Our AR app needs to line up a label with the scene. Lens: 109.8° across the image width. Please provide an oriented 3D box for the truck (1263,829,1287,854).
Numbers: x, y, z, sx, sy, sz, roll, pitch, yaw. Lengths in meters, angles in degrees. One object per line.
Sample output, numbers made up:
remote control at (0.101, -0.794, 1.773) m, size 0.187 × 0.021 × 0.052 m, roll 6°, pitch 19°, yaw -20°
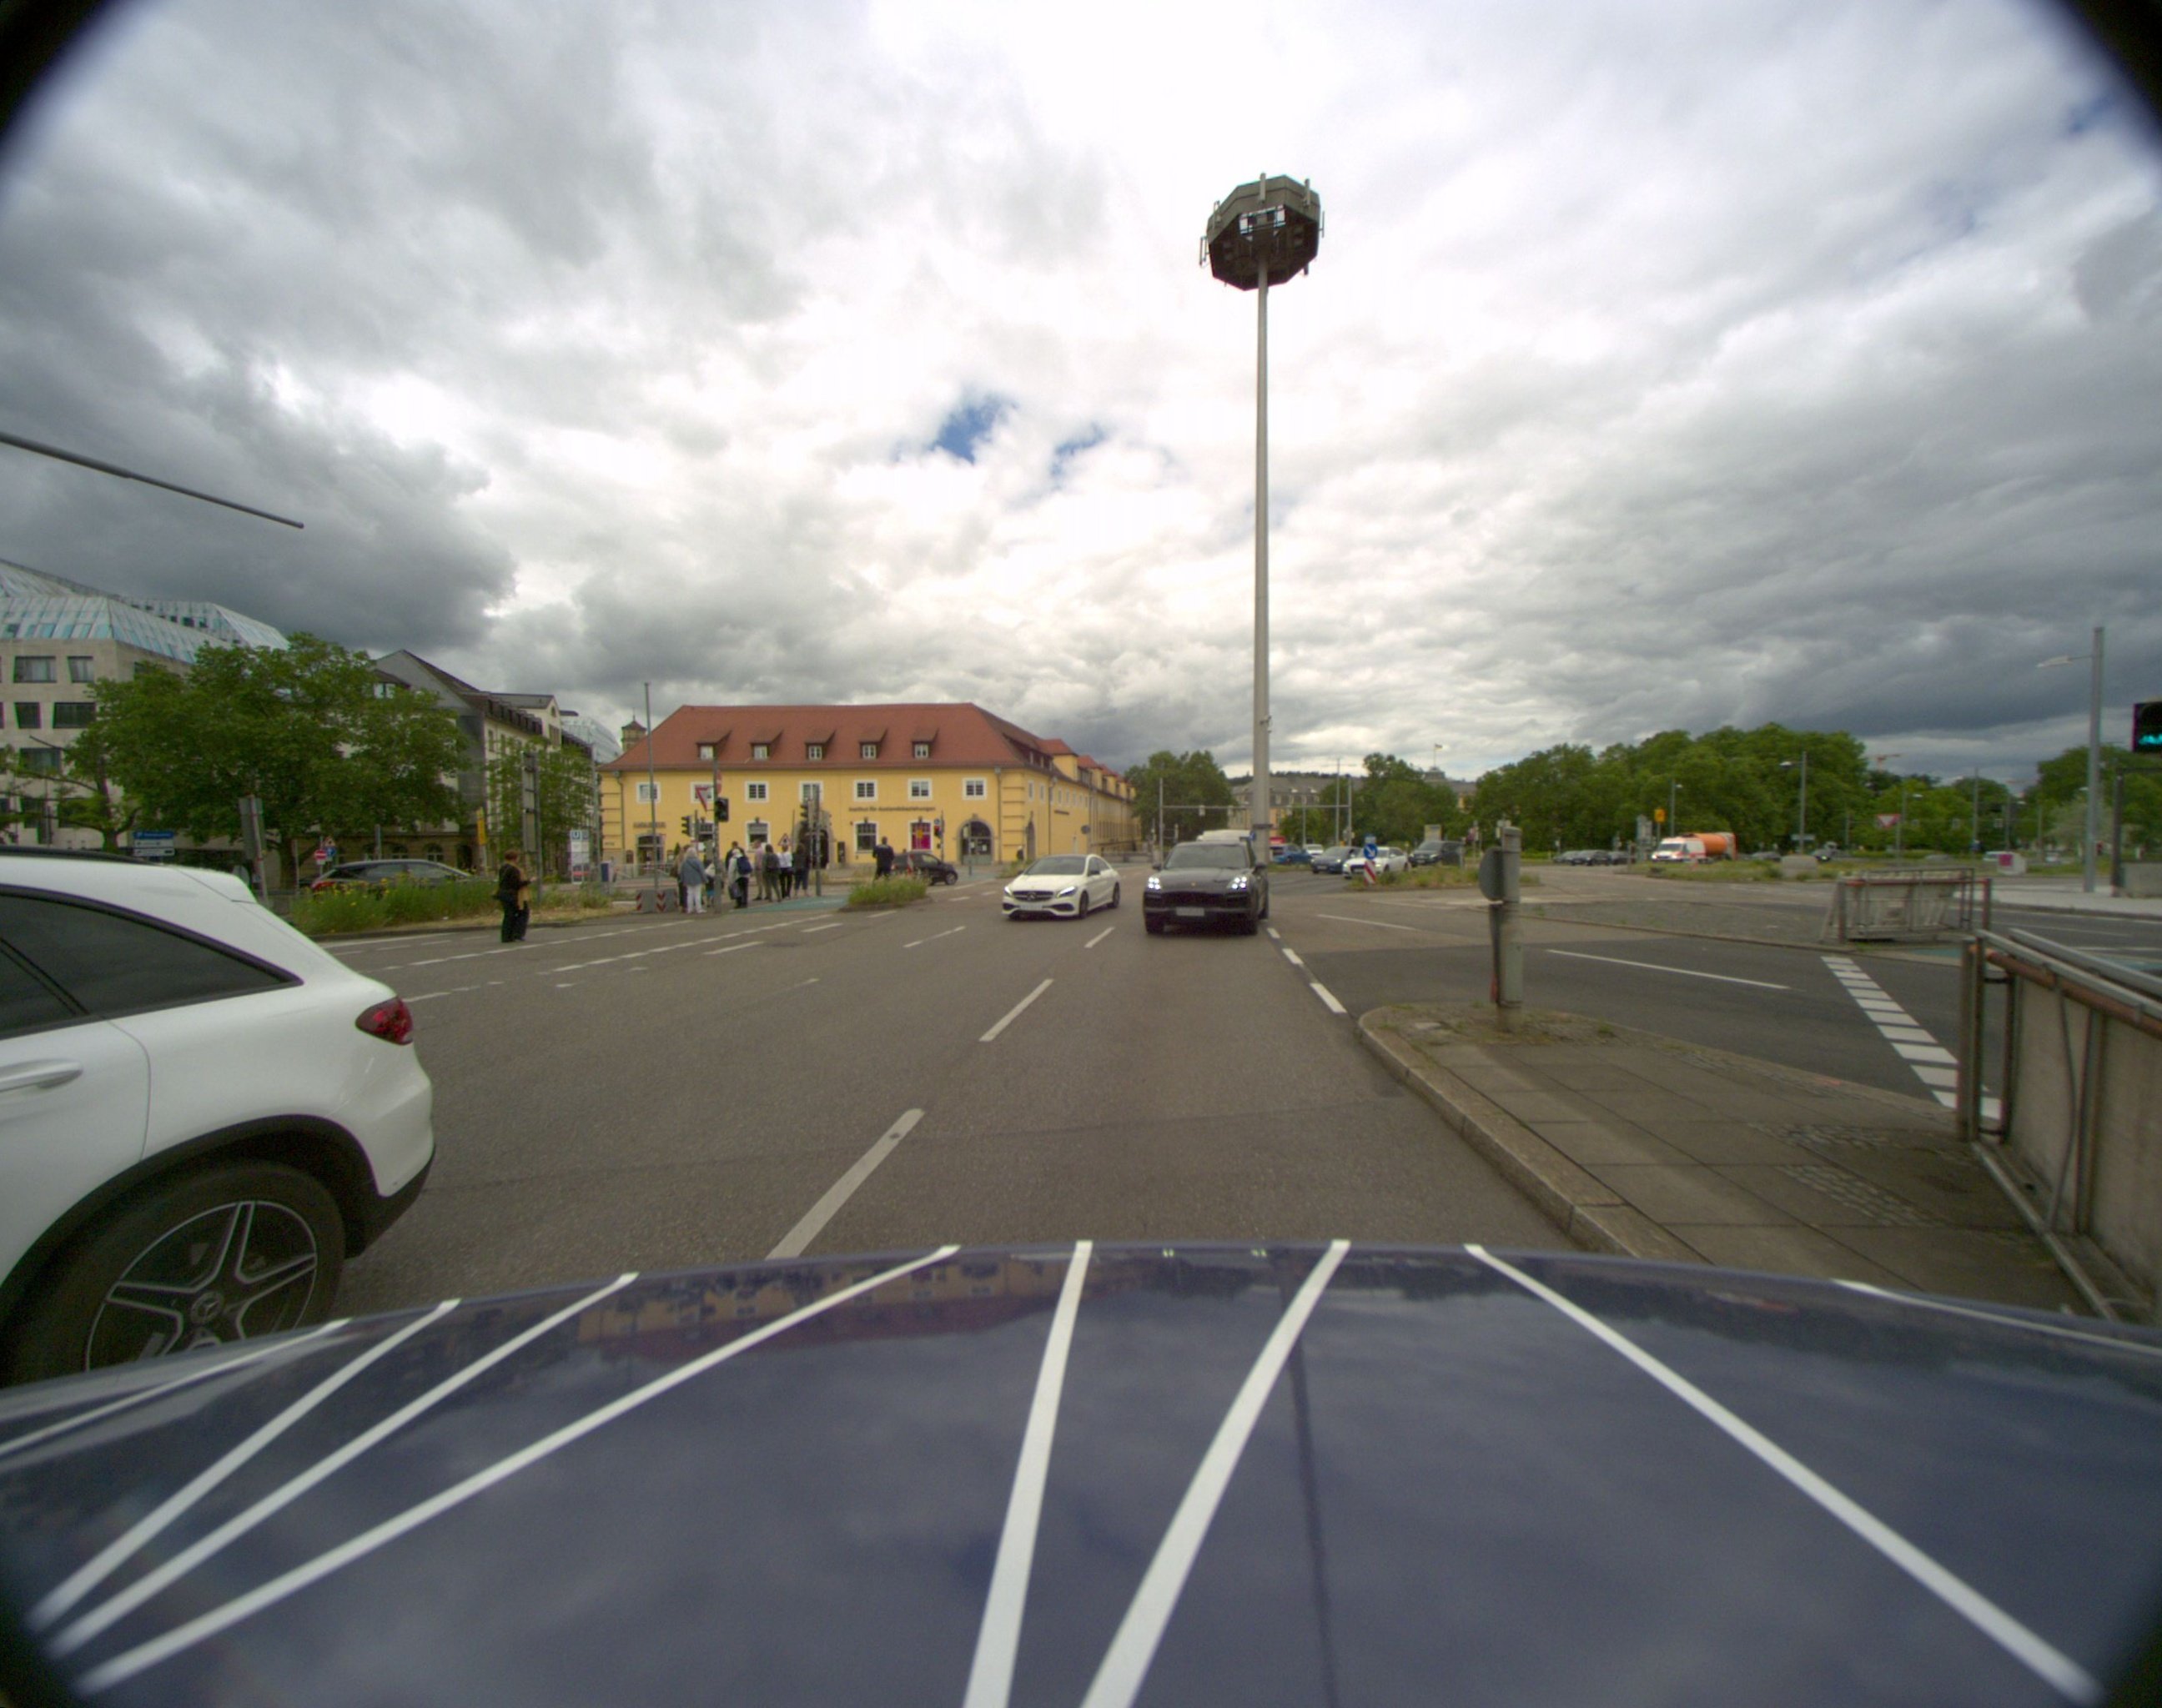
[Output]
truck at (28.101, -1.804, 110.458) m, size 2.787 × 3.469 × 8.356 m, roll 0°, pitch 1°, yaw 10°

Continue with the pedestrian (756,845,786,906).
pedestrian at (-8.815, 0.593, 21.594) m, size 0.612 × 1.686 × 0.641 m, roll -2°, pitch 1°, yaw -34°

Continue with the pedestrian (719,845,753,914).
pedestrian at (-9.065, 0.646, 19.971) m, size 0.670 × 1.751 × 0.762 m, roll -2°, pitch 1°, yaw -32°

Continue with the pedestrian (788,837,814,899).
pedestrian at (-8.863, 0.437, 24.045) m, size 0.612 × 1.944 × 0.641 m, roll -2°, pitch 1°, yaw -31°

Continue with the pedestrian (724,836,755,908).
pedestrian at (-9.413, 0.485, 20.927) m, size 0.612 × 1.954 × 0.641 m, roll -2°, pitch 1°, yaw -34°

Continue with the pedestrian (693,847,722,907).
pedestrian at (-10.688, 0.645, 21.758) m, size 0.612 × 1.686 × 0.641 m, roll -2°, pitch 1°, yaw -34°

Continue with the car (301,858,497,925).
car at (-18.516, 0.944, 20.788) m, size 3.818 × 1.567 × 1.994 m, roll -1°, pitch 1°, yaw -43°

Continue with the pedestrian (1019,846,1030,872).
pedestrian at (-4.051, 0.366, 54.370) m, size 0.639 × 1.884 × 0.557 m, roll -1°, pitch 1°, yaw -22°

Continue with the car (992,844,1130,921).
car at (-0.302, 0.560, 18.031) m, size 1.868 × 1.560 × 4.657 m, roll 0°, pitch 1°, yaw 17°

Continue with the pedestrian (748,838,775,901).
pedestrian at (-9.842, 0.456, 23.382) m, size 0.612 × 1.899 × 0.641 m, roll -2°, pitch 3°, yaw -34°

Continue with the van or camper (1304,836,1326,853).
van or camper at (27.213, -1.115, 88.445) m, size 1.863 × 1.905 × 4.717 m, roll 0°, pitch 1°, yaw 11°

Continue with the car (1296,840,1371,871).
car at (13.667, 0.047, 40.981) m, size 4.008 × 1.592 × 1.994 m, roll -1°, pitch 1°, yaw -39°

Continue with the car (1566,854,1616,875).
car at (44.589, 0.878, 66.438) m, size 3.745 × 1.729 × 1.857 m, roll 0°, pitch 1°, yaw -24°

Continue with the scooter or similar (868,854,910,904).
scooter or similar at (-5.719, 0.694, 22.515) m, size 0.778 × 1.398 × 1.884 m, roll -2°, pitch 1°, yaw -27°

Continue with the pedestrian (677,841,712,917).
pedestrian at (-9.669, 0.609, 19.017) m, size 0.670 × 1.852 × 0.701 m, roll -2°, pitch 1°, yaw -32°

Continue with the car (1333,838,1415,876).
car at (13.763, 0.142, 35.518) m, size 2.091 × 1.599 × 4.421 m, roll -3°, pitch -1°, yaw 42°

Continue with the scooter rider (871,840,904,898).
scooter rider at (-5.725, 0.428, 22.510) m, size 0.767 × 1.684 × 0.744 m, roll -2°, pitch 1°, yaw -27°

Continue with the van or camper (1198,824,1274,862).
van or camper at (10.701, -0.771, 52.011) m, size 2.141 × 2.463 × 6.174 m, roll -1°, pitch 0°, yaw 43°

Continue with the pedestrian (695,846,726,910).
pedestrian at (-10.044, 0.645, 20.604) m, size 0.612 × 1.686 × 0.641 m, roll -2°, pitch 1°, yaw -34°

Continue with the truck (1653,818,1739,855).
truck at (62.122, -1.696, 76.718) m, size 9.189 × 3.595 × 2.723 m, roll 0°, pitch 1°, yaw -23°

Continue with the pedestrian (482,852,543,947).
pedestrian at (-10.474, 0.808, 14.031) m, size 0.803 × 1.688 × 0.546 m, roll -1°, pitch 1°, yaw -29°

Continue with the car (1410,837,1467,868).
car at (24.135, -0.141, 51.234) m, size 4.651 × 1.977 × 1.855 m, roll -1°, pitch 2°, yaw -43°

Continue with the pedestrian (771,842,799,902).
pedestrian at (-8.923, 0.536, 22.934) m, size 0.612 × 1.786 × 0.641 m, roll -2°, pitch 1°, yaw -34°

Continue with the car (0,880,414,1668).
car at (-3.270, 0.931, 0.446) m, size 1.806 × 1.637 × 4.334 m, roll 0°, pitch 1°, yaw 3°

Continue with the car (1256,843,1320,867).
car at (13.509, 0.061, 49.495) m, size 4.637 × 1.474 × 1.943 m, roll -1°, pitch 0°, yaw -45°

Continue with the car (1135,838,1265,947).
car at (2.455, 0.587, 14.561) m, size 2.002 × 1.629 × 5.024 m, roll -2°, pitch 2°, yaw 13°

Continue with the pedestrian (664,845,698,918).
pedestrian at (-10.276, 0.689, 19.525) m, size 0.670 × 1.805 × 0.701 m, roll -2°, pitch 1°, yaw -32°

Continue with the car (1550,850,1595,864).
car at (47.811, 0.278, 73.927) m, size 3.859 × 1.266 × 1.774 m, roll -1°, pitch 1°, yaw -23°

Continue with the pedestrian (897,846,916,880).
pedestrian at (-9.117, 0.466, 39.642) m, size 0.827 × 1.779 × 0.752 m, roll -1°, pitch 1°, yaw -4°

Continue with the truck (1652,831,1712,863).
truck at (53.817, -0.590, 68.026) m, size 5.797 × 2.768 × 1.952 m, roll 0°, pitch 1°, yaw -27°
